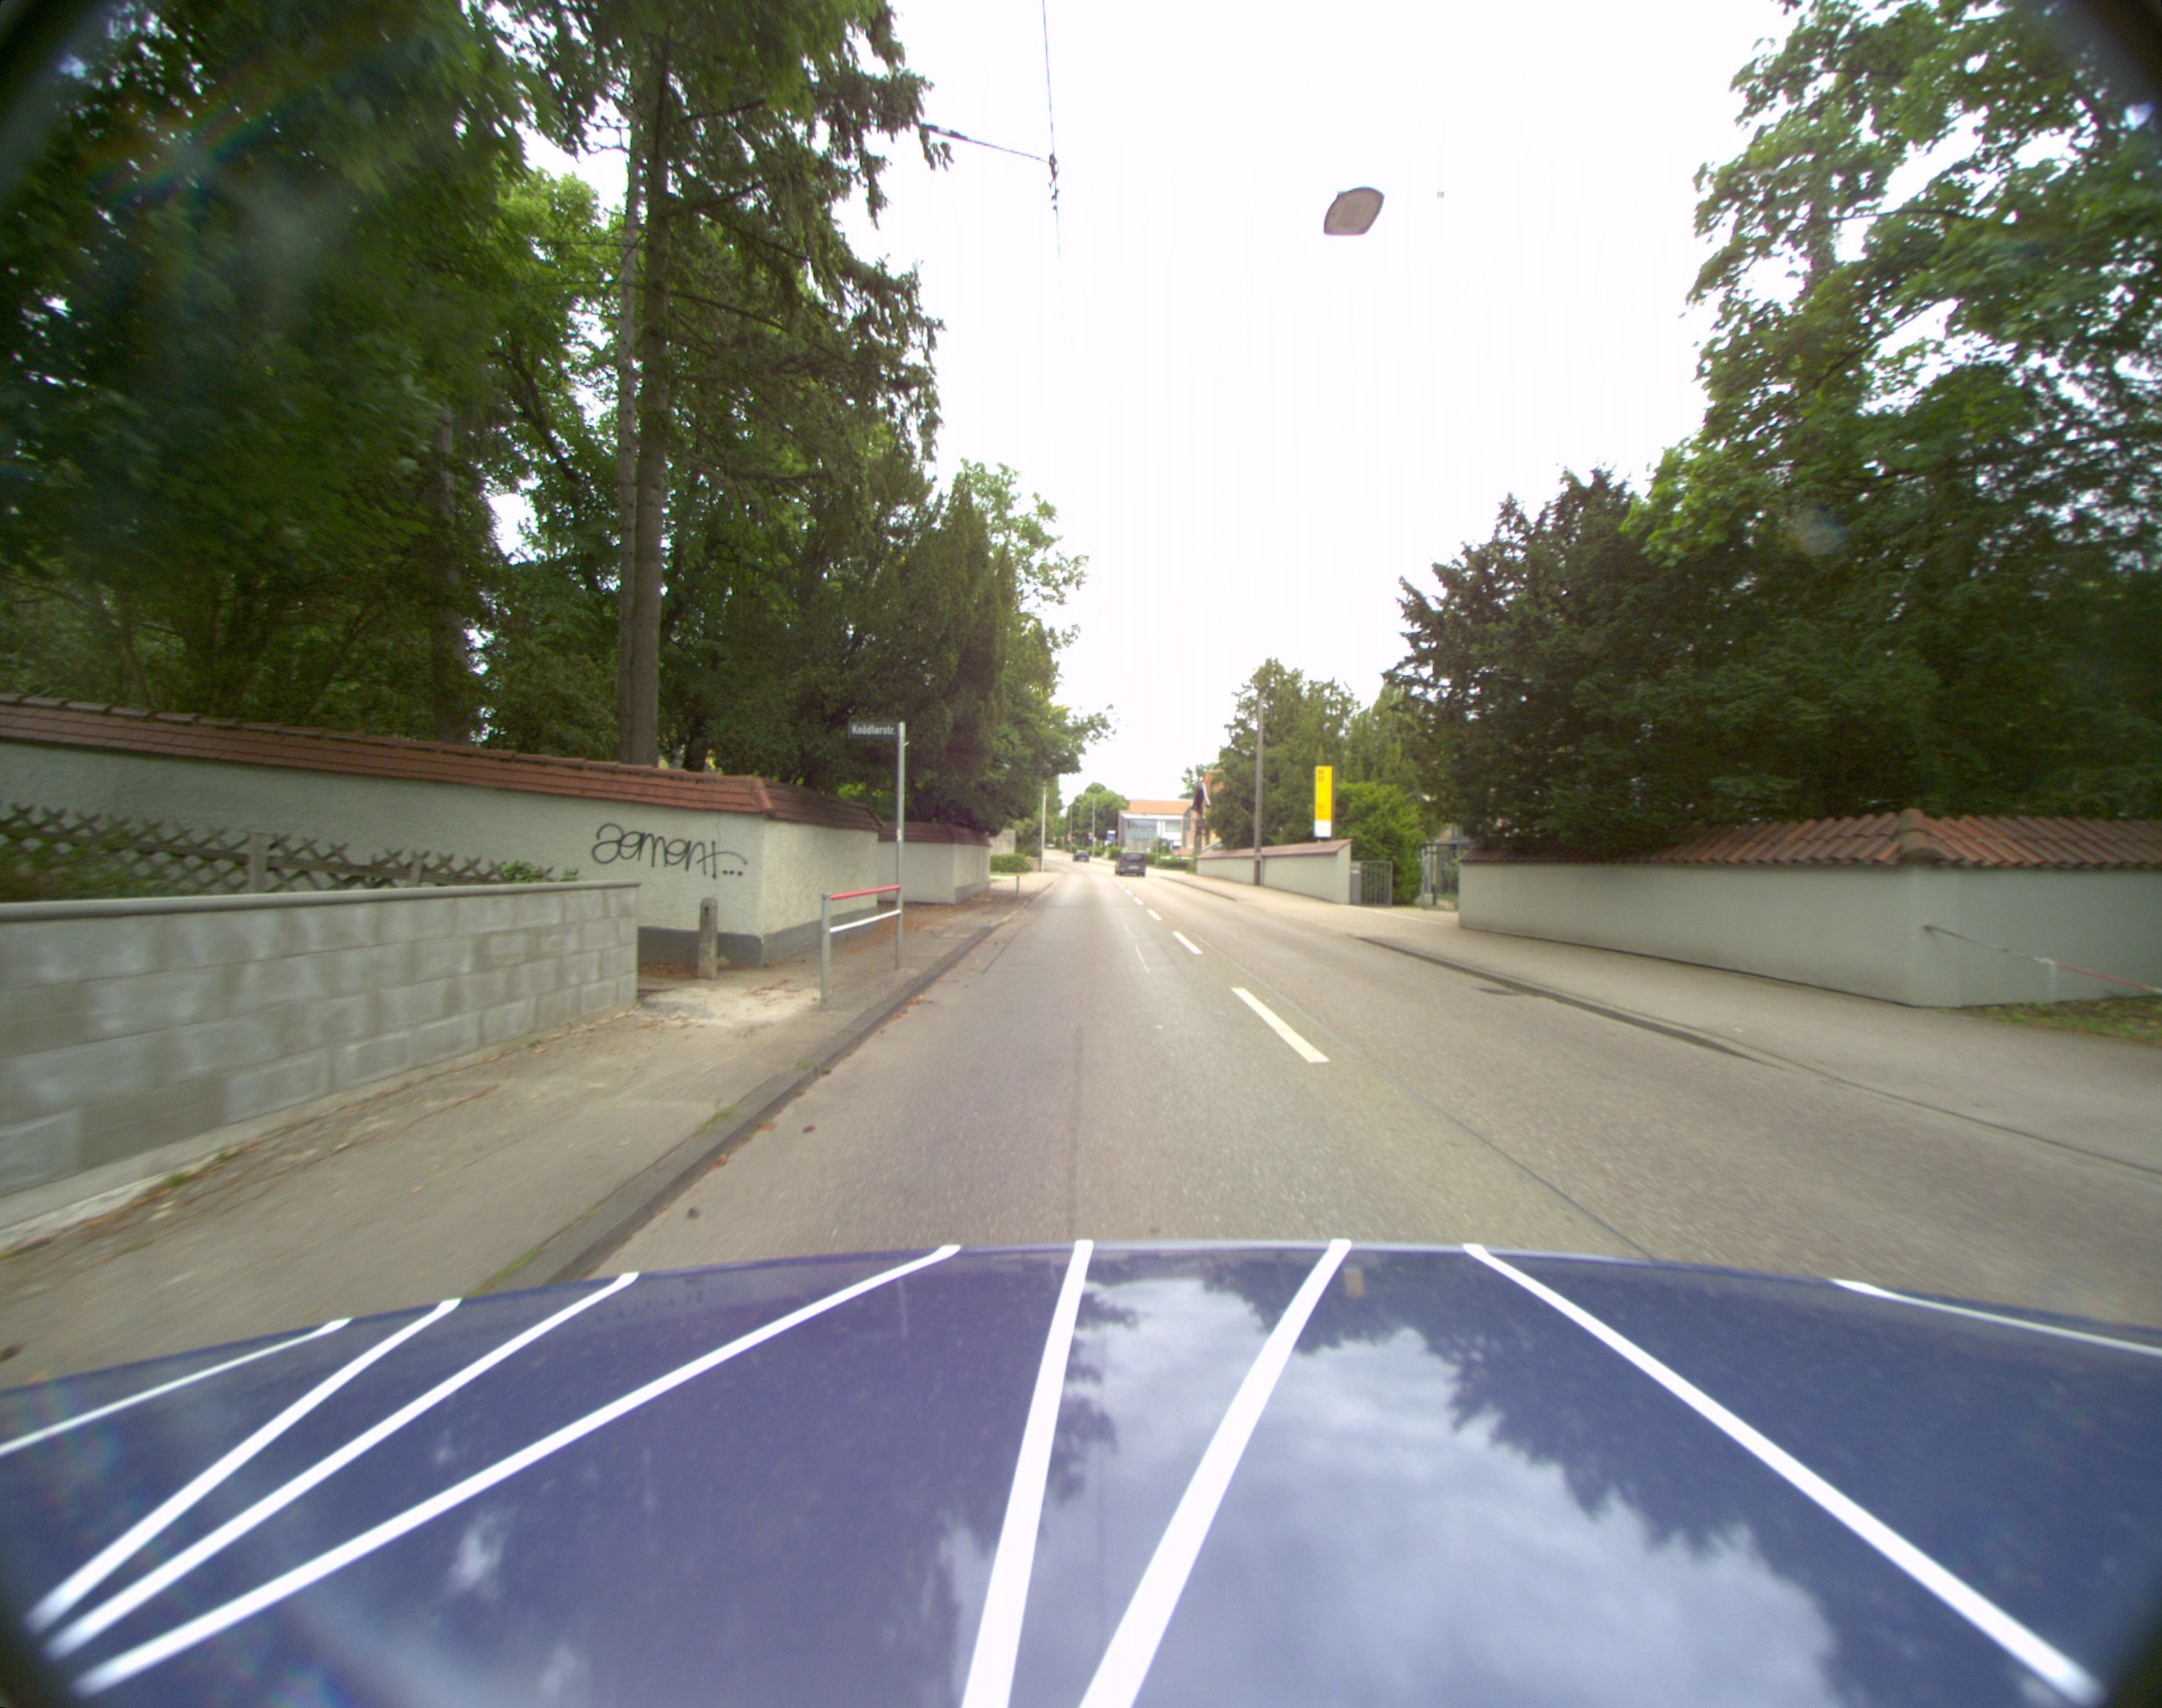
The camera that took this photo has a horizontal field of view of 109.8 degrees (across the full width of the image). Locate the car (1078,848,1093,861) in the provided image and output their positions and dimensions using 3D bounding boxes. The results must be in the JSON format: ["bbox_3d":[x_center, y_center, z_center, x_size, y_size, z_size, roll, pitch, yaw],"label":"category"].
[{"bbox_3d":[0.540,0.056,94.555,1.790,1.420,3.999,2,1,-2],"label":"car"}]

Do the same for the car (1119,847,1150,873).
[{"bbox_3d":[3.930,0.390,56.686,1.895,1.845,5.082,1,1,0],"label":"car"}]
